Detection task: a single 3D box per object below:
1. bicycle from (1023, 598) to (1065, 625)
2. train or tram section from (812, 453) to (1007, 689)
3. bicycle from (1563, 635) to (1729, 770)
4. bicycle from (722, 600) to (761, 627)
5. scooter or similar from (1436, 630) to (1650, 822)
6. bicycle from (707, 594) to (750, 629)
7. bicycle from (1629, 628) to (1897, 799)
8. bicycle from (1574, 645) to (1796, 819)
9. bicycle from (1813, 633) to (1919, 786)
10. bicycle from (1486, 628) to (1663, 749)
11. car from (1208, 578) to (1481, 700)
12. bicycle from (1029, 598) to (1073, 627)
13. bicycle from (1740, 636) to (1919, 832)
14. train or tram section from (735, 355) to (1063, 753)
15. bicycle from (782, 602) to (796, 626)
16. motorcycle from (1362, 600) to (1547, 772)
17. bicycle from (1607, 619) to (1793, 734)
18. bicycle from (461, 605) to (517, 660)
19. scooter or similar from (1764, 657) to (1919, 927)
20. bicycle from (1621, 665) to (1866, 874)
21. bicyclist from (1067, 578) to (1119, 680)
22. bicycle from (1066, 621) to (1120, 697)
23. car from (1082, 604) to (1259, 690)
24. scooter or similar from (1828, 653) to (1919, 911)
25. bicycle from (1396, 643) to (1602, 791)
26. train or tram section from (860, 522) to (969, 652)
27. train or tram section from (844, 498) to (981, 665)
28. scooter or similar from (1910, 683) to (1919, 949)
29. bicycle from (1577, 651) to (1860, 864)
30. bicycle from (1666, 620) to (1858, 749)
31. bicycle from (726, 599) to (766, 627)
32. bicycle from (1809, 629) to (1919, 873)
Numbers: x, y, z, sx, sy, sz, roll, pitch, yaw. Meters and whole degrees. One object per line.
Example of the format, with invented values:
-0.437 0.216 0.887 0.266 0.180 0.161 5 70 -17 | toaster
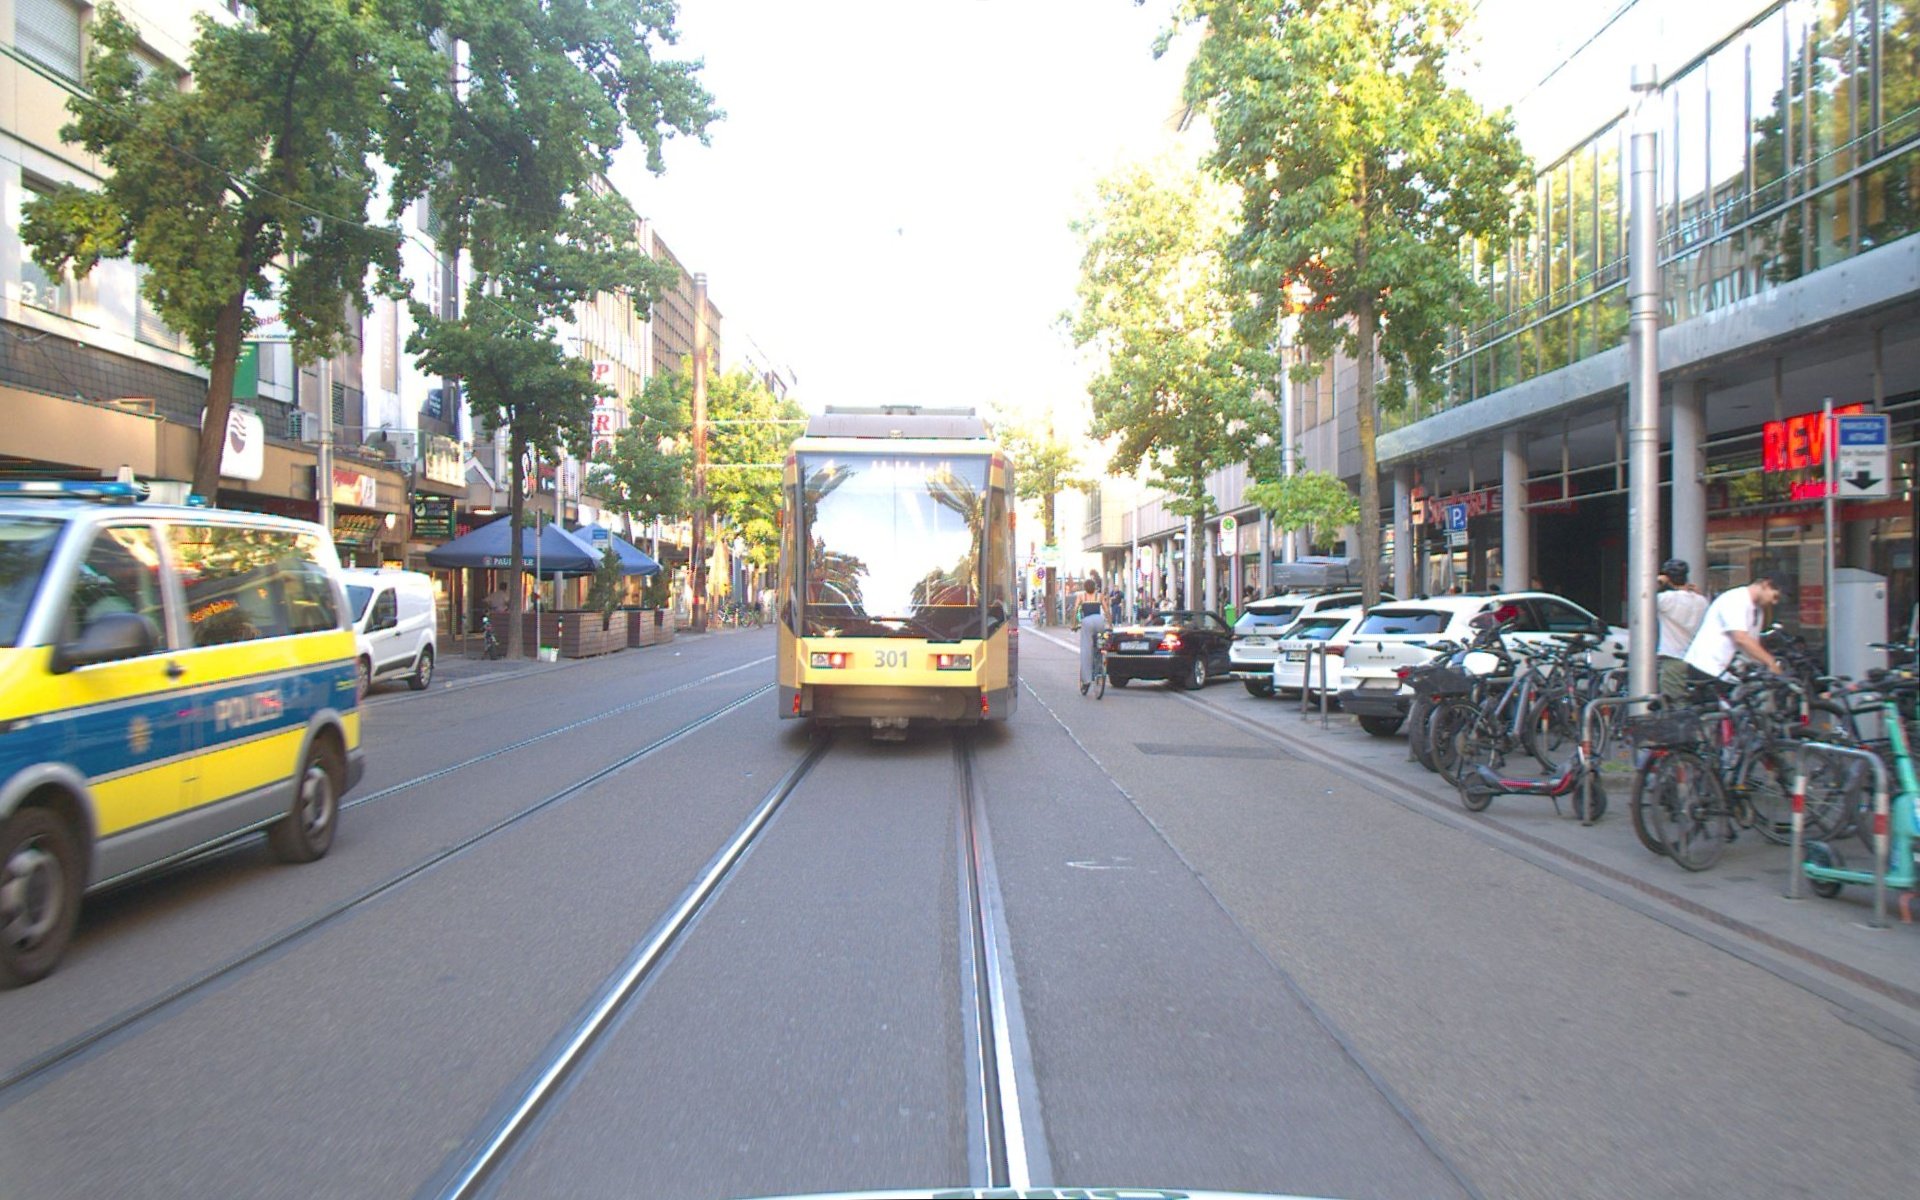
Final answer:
4.755 0.664 93.760 2.282 1.497 0.790 1 -1 -5 | bicycle
-0.897 -0.438 30.519 2.946 3.585 10.399 1 0 -1 | train or tram section
6.360 0.924 15.313 1.576 1.051 0.548 -5 2 -31 | bicycle
-10.017 0.613 75.845 1.699 1.146 0.563 3 -1 -5 | bicycle
4.400 0.909 12.546 0.690 1.327 1.374 -1 1 -39 | scooter or similar
-10.030 0.502 71.623 1.766 1.384 0.658 3 -1 -13 | bicycle
6.299 0.856 12.978 1.964 1.168 0.694 -3 1 -19 | bicycle
5.461 0.954 12.419 1.810 1.095 0.617 -3 2 -33 | bicycle
7.881 0.851 13.511 1.810 1.113 0.815 -1 0 -32 | bicycle
6.415 0.891 17.250 1.730 1.137 0.907 -1 0 -35 | bicycle
6.202 0.580 26.543 4.156 1.666 1.899 -3 1 -33 | car
4.934 0.685 89.671 2.282 1.497 0.790 1 -1 -5 | bicycle
6.060 0.866 11.077 1.657 1.158 0.475 -2 1 -21 | bicycle
-0.666 -0.396 20.137 2.955 3.585 10.367 0 0 -1 | train or tram section
-8.458 0.674 81.909 0.599 1.146 2.249 3 -1 -6 | bicycle
4.851 0.783 16.135 0.783 1.497 2.189 0 2 45 | motorcycle
7.983 0.800 17.851 1.722 1.137 0.928 -1 0 -25 | bicycle
-10.334 0.695 36.234 0.801 1.122 2.147 0 1 -26 | bicycle
4.721 0.944 8.581 0.472 1.243 1.214 -2 0 0 | scooter or similar
4.866 1.009 10.234 1.726 1.095 0.489 -2 1 -31 | bicycle
2.075 0.450 25.801 0.712 1.553 0.733 2 -1 0 | bicyclist
2.054 0.895 25.699 0.642 1.079 2.057 2 0 0 | bicycle
3.912 0.794 30.102 1.767 1.372 4.440 0 1 28 | car
5.155 0.930 8.875 0.556 1.226 1.282 -2 0 14 | scooter or similar
4.716 0.985 14.437 1.728 1.136 0.798 -1 1 -33 | bicycle
-1.406 -0.358 51.824 2.983 3.585 10.527 1 0 -1 | train or tram section
-1.155 -0.401 41.136 2.942 3.585 10.842 0 0 -1 | train or tram section
4.994 0.976 7.749 1.319 1.202 0.492 -1 0 -39 | scooter or similar
4.940 0.968 10.728 1.967 1.149 0.673 -3 1 -31 | bicycle
7.839 0.794 16.157 1.767 1.136 0.836 -2 0 -30 | bicycle
-9.493 0.593 73.421 1.700 1.146 0.612 3 -1 -7 | bicycle
5.996 0.824 9.768 1.800 1.296 0.677 -2 1 -20 | bicycle
